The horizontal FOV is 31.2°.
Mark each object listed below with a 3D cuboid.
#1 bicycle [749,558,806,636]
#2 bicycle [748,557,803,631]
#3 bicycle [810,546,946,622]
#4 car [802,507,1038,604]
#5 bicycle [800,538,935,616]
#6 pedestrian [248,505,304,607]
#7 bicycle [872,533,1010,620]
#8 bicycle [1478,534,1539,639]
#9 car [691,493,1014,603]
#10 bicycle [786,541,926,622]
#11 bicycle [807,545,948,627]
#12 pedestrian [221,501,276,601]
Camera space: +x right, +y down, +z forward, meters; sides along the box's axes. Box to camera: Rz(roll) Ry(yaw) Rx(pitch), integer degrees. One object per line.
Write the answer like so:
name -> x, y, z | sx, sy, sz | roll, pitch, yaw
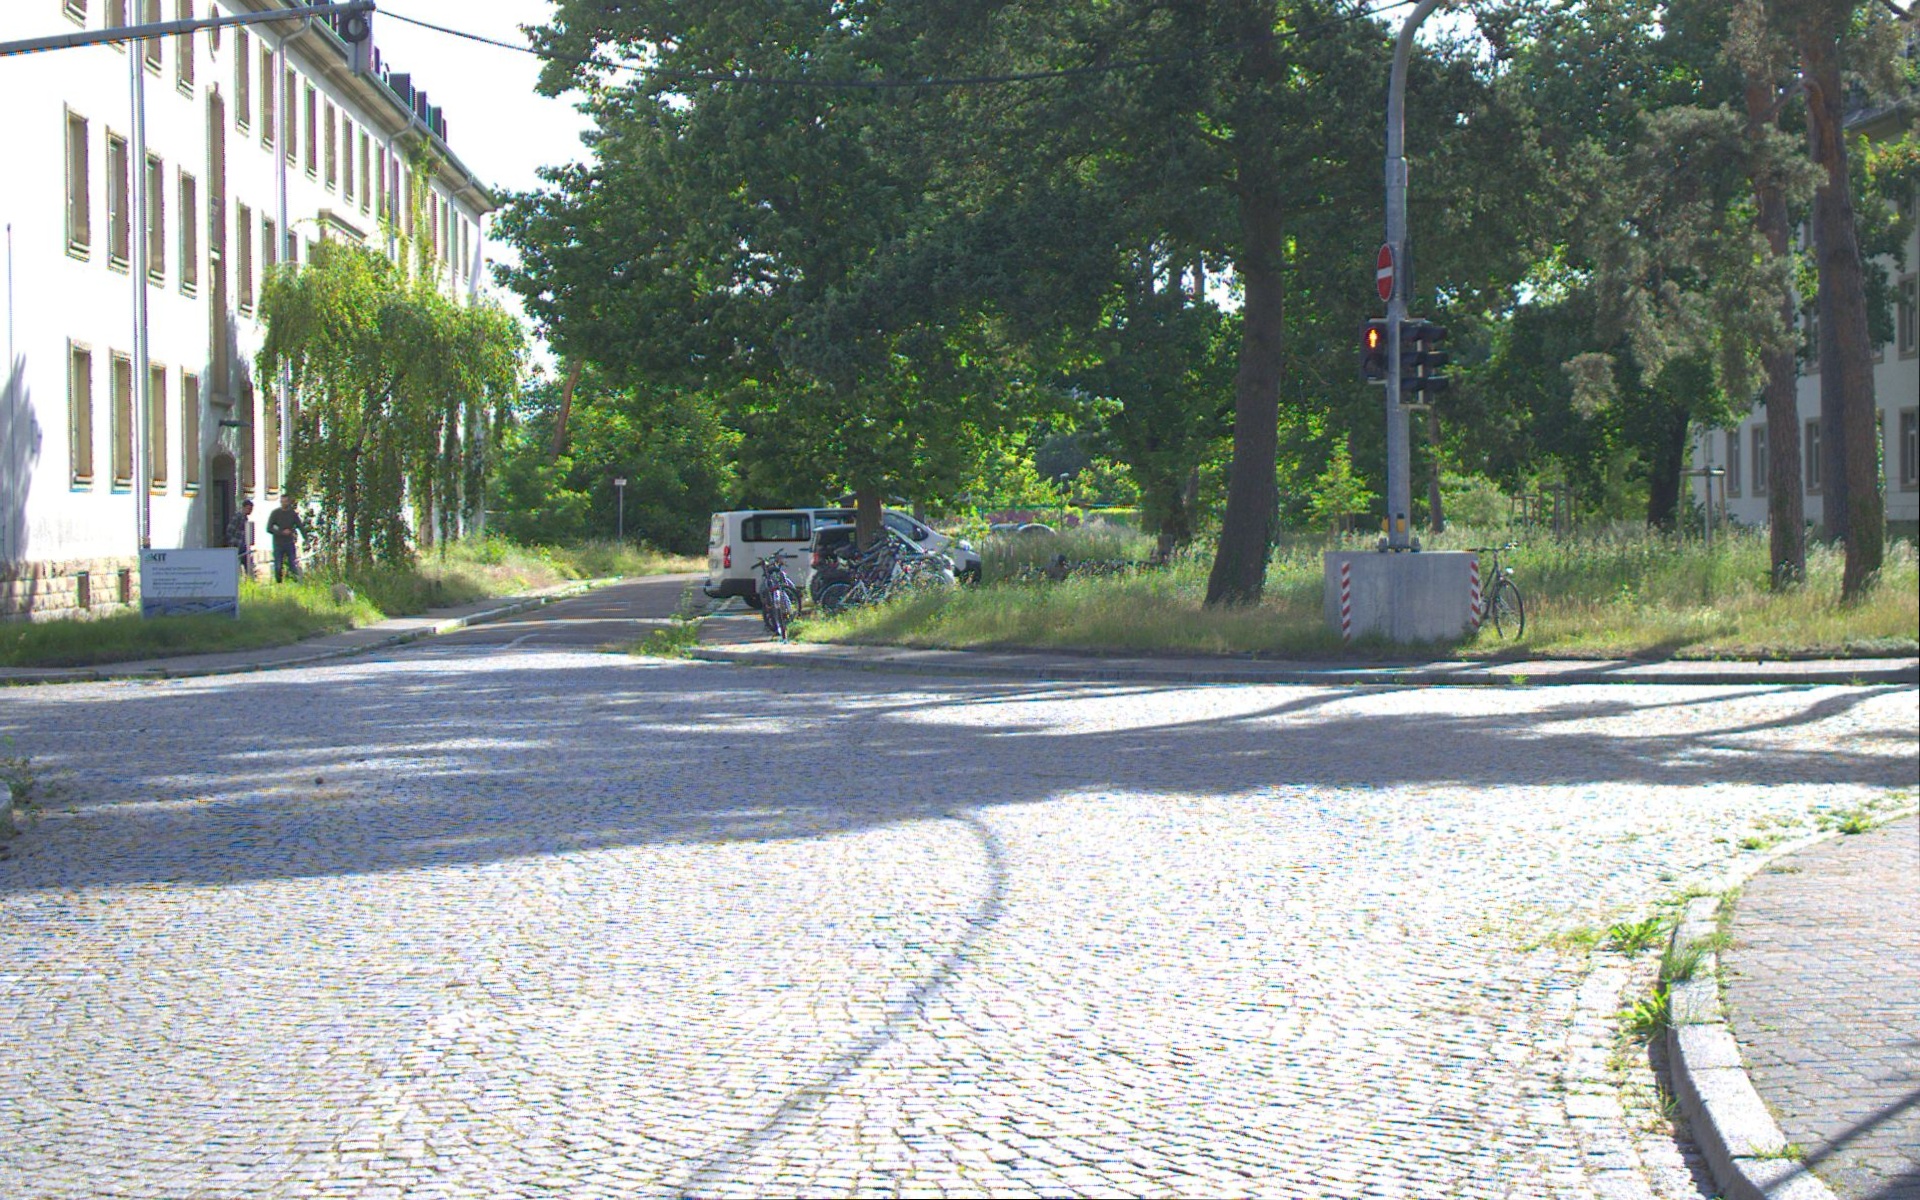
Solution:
bicycle -> -2.360, -0.045, 44.393 | 0.695, 0.968, 1.861 | 0, 1, -4
bicycle -> -2.496, -0.093, 46.327 | 0.695, 0.968, 1.861 | 0, 1, -4
bicycle -> -1.149, -0.232, 47.912 | 1.854, 1.027, 0.750 | -1, 1, -5
car -> -0.732, -0.804, 61.696 | 3.986, 1.678, 1.848 | -1, 1, -10
bicycle -> -1.382, -0.347, 51.008 | 1.940, 1.125, 0.648 | -1, 1, -7
pedestrian -> -12.252, -0.796, 61.561 | 0.812, 1.811, 0.555 | -1, 1, 9
bicycle -> -0.282, -0.342, 49.437 | 1.940, 1.231, 0.485 | -1, 1, -5
bicycle -> 5.739, -0.150, 35.983 | 0.466, 1.076, 1.174 | -1, 1, 1
car -> -2.095, -1.007, 65.903 | 5.929, 2.007, 2.476 | -1, 1, -9
bicycle -> -1.506, -0.277, 49.917 | 1.940, 1.125, 0.648 | -1, 1, -29
bicycle -> -1.179, -0.207, 48.709 | 1.940, 1.125, 0.750 | -1, 1, -5
pedestrian -> -12.909, -0.893, 62.387 | 0.767, 1.811, 0.682 | 0, 1, 9
